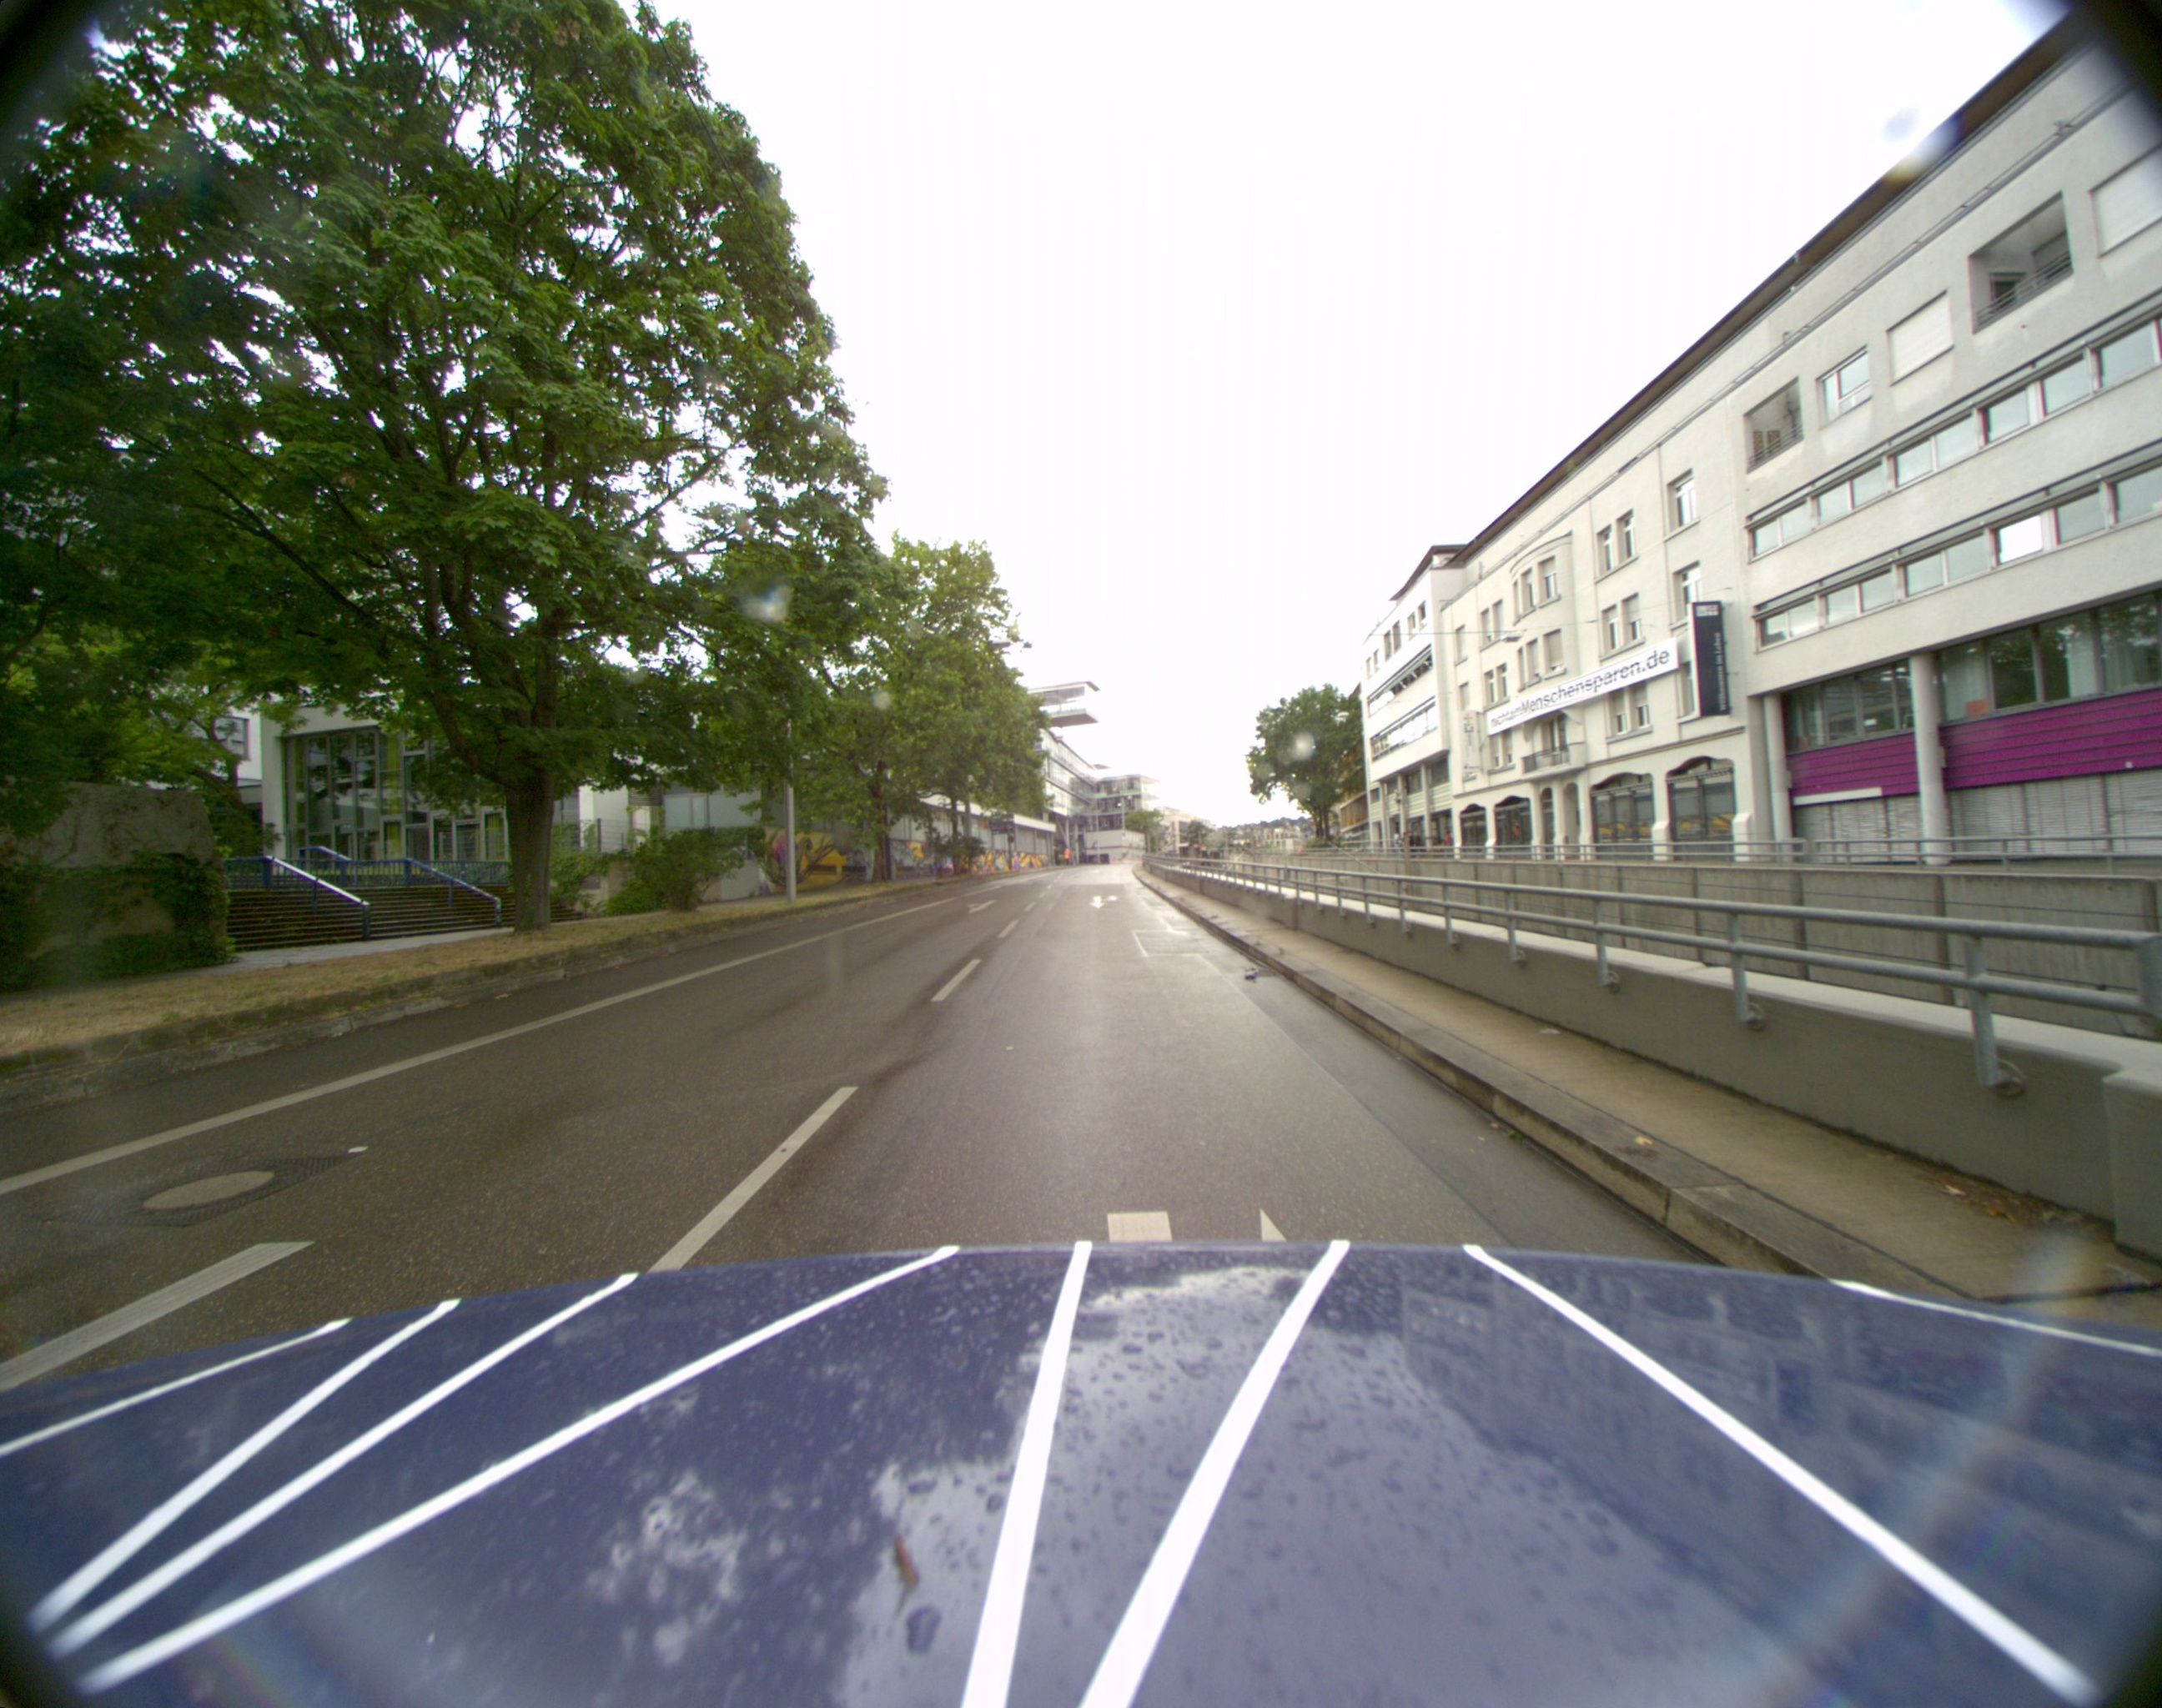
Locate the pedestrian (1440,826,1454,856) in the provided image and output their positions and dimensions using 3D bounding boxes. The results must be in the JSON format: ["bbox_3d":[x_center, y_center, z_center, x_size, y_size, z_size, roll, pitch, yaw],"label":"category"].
[{"bbox_3d":[22.829,-0.804,47.379,0.470,1.792,0.547,-4,1,0],"label":"pedestrian"}]

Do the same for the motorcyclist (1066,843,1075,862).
[{"bbox_3d":[-1.106,-0.164,82.290,0.754,2.002,1.002,-4,1,4],"label":"motorcyclist"}]

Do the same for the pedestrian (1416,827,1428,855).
[{"bbox_3d":[22.576,-0.861,50.319,0.470,1.792,0.547,-4,1,3],"label":"pedestrian"}]

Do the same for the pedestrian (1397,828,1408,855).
[{"bbox_3d":[21.704,-0.813,51.369,0.469,1.792,0.548,-4,1,8],"label":"pedestrian"}]

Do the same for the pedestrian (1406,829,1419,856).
[{"bbox_3d":[22.485,-0.786,51.581,0.547,1.792,0.470,-4,1,-7],"label":"pedestrian"}]
